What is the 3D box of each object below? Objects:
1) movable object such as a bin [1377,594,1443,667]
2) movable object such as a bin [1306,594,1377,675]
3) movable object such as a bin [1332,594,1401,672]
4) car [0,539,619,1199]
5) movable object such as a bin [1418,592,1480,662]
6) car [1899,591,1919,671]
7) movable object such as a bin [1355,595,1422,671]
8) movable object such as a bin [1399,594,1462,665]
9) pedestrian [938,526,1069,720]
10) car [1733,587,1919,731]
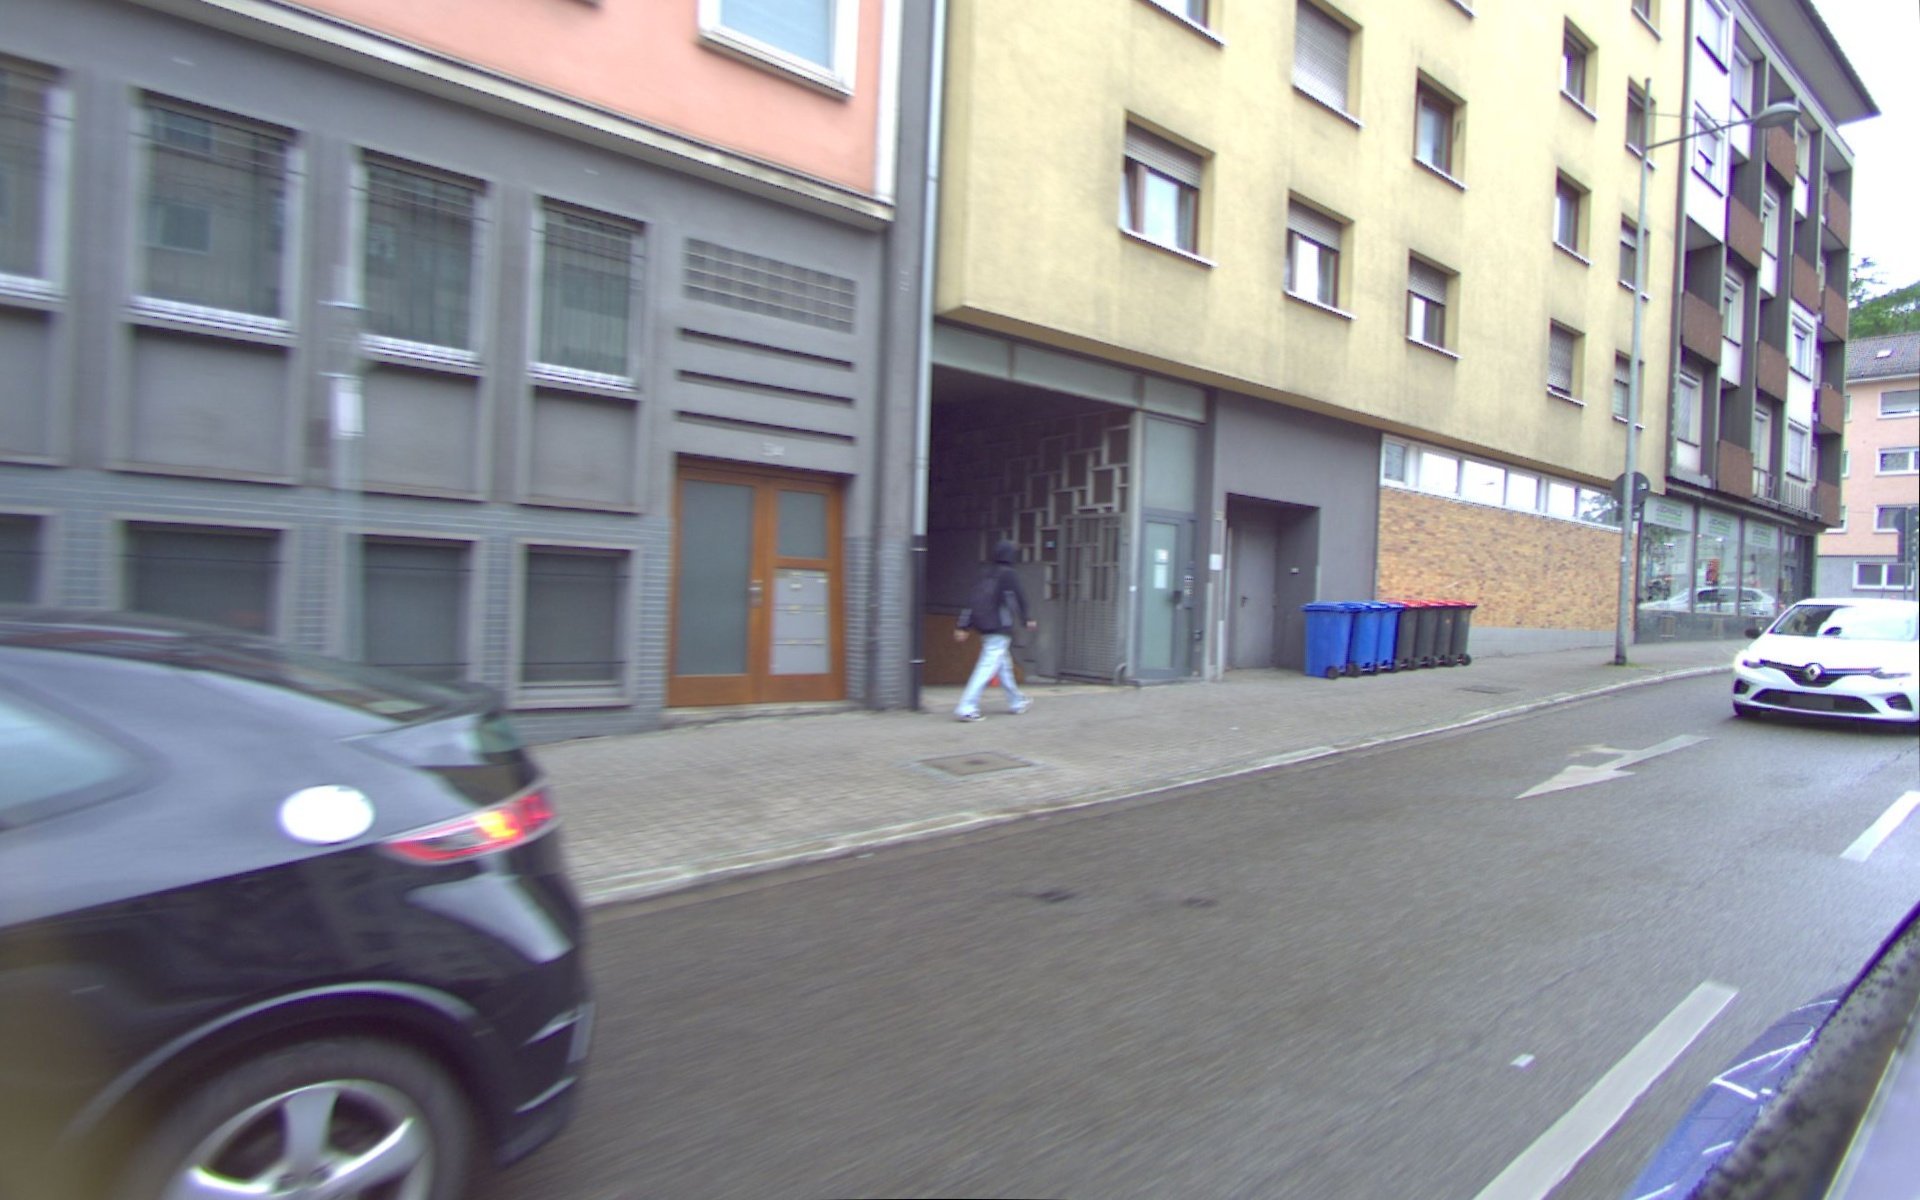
[{"bbox_3d":[6.997,0.460,15.740,0.656,1.090,0.682,1,2,-40],"label":"movable object such as a bin"},{"bbox_3d":[5.441,0.478,14.434,0.656,1.090,0.682,1,2,-40],"label":"movable object such as a bin"},{"bbox_3d":[5.974,0.469,14.871,0.656,1.090,0.682,1,2,-40],"label":"movable object such as a bin"},{"bbox_3d":[-2.842,0.659,1.635,3.985,1.515,1.787,0,0,-41],"label":"car"},{"bbox_3d":[8.030,0.436,16.611,0.656,1.090,0.682,1,2,-40],"label":"movable object such as a bin"},{"bbox_3d":[19.603,0.590,18.549,5.188,1.404,2.044,0,3,-30],"label":"car"},{"bbox_3d":[6.485,0.482,15.309,0.656,1.090,0.682,1,2,-40],"label":"movable object such as a bin"},{"bbox_3d":[7.517,0.458,16.172,0.656,1.090,0.682,1,2,-40],"label":"movable object such as a bin"},{"bbox_3d":[0.437,0.217,10.065,1.075,1.810,0.675,1,0,-37],"label":"pedestrian"},{"bbox_3d":[10.925,0.597,12.111,3.927,1.421,1.681,0,2,-38],"label":"car"}]
